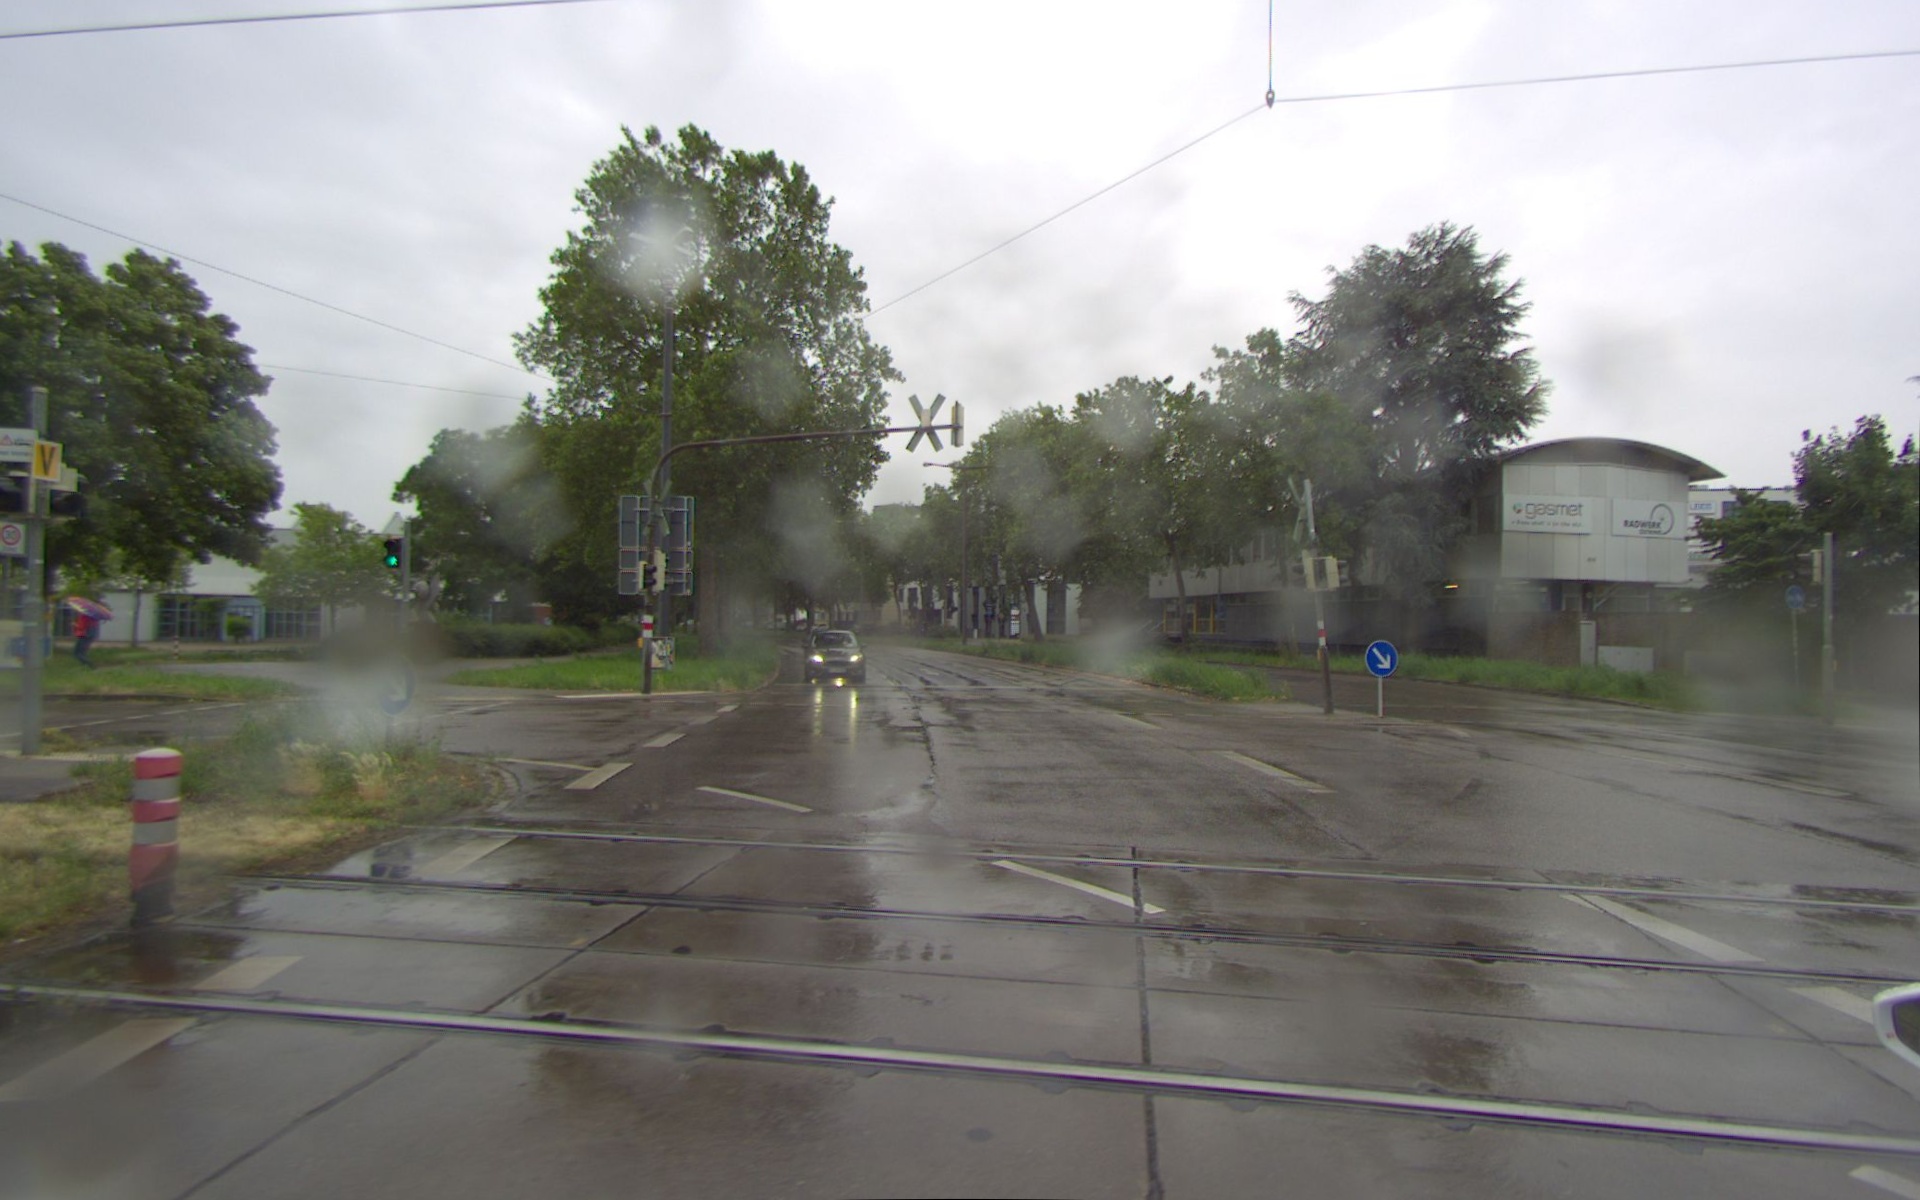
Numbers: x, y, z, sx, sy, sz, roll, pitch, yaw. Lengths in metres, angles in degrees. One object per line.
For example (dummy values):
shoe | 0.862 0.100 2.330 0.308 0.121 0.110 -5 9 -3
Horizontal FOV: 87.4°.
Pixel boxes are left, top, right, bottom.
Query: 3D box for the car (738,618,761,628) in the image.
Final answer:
car | -40.369 4.414 192.430 3.957 1.844 1.982 1 0 -33

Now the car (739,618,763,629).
car | -39.245 4.429 188.459 3.957 1.844 1.982 1 0 -33

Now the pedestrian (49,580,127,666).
pedestrian | -20.978 0.548 24.185 0.988 2.017 0.954 1 0 -1

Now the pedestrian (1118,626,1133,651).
pedestrian | 11.589 2.682 70.305 0.662 1.690 0.822 1 0 -17

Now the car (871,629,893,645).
car | -9.675 4.585 124.974 1.967 1.806 3.986 1 0 -16

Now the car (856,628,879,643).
car | -12.138 4.602 131.654 1.970 1.806 3.980 1 0 -21

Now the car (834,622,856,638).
car | -16.306 4.272 142.617 2.098 2.116 3.978 1 0 -23

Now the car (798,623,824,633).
car | -24.249 4.610 163.400 3.839 1.513 1.870 1 0 -34

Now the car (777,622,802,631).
car | -29.129 4.511 171.549 3.839 1.524 1.870 1 0 -34

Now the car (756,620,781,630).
car | -34.495 4.521 180.802 3.957 1.844 1.982 1 0 -33

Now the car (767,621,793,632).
car | -31.524 4.569 176.050 3.962 1.856 1.979 1 0 -36

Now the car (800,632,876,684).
car | -3.762 1.694 30.333 1.774 1.420 4.303 0 -2 -14
